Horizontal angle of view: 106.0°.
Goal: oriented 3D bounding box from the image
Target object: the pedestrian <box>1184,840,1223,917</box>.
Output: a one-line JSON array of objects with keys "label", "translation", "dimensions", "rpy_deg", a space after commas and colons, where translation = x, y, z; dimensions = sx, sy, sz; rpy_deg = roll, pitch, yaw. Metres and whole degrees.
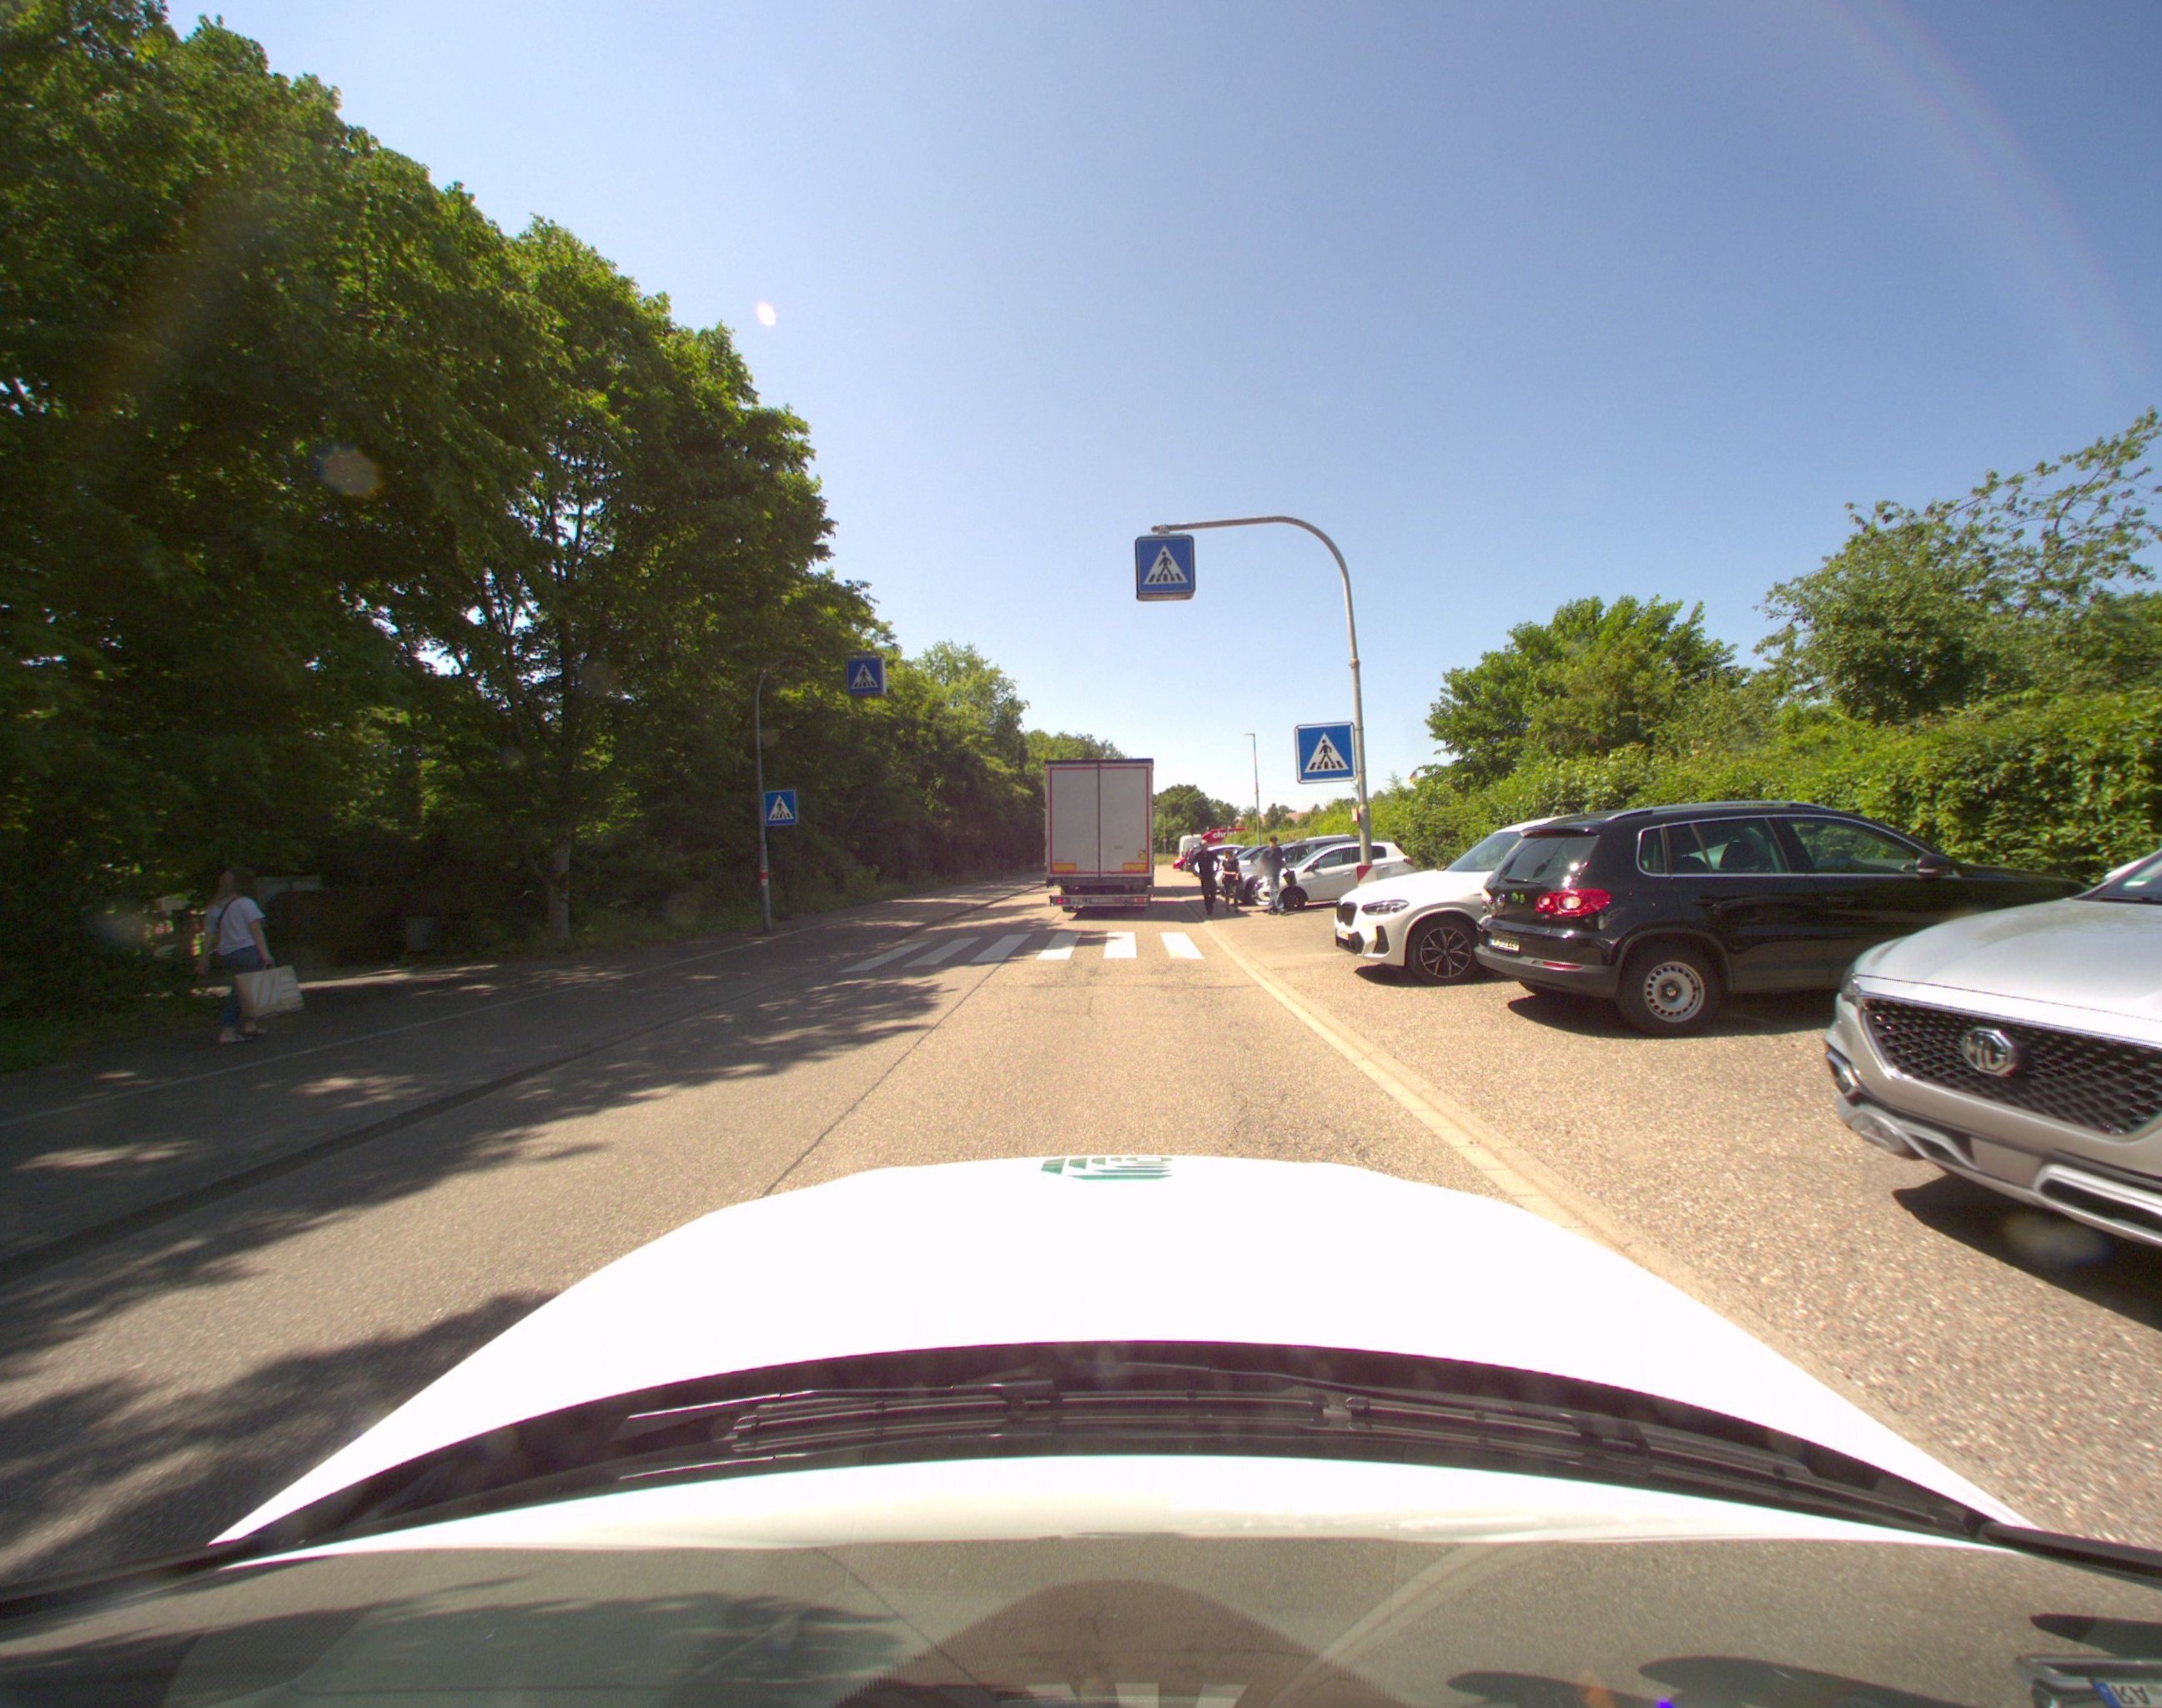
[{"label": "pedestrian", "translation": [3.086, 0.611, 20.571], "dimensions": [0.817, 1.834, 0.794], "rpy_deg": [-5, -1, 6]}]

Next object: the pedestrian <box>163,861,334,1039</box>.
[{"label": "pedestrian", "translation": [-7.991, 0.883, 7.860], "dimensions": [0.826, 1.622, 0.783], "rpy_deg": [0, 0, -1]}]

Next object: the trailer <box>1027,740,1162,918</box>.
[{"label": "trailer", "translation": [0.629, -0.567, 24.690], "dimensions": [3.100, 4.102, 11.546], "rpy_deg": [-1, 0, 3]}]

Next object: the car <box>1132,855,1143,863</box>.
[{"label": "car", "translation": [11.829, 1.106, 170.876], "dimensions": [1.770, 1.486, 4.011], "rpy_deg": [-3, 0, 10]}]

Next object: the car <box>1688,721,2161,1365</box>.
[{"label": "car", "translation": [4.835, 0.334, 2.664], "dimensions": [4.224, 1.653, 1.899], "rpy_deg": [-5, -1, -1]}]

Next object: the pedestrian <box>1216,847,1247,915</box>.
[{"label": "pedestrian", "translation": [3.702, 0.660, 20.110], "dimensions": [0.586, 1.615, 0.746], "rpy_deg": [-5, -1, 6]}]

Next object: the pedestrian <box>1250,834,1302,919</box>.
[{"label": "pedestrian", "translation": [4.379, 0.504, 18.386], "dimensions": [0.903, 1.798, 0.937], "rpy_deg": [-5, -1, 6]}]

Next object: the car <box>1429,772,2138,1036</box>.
[{"label": "car", "translation": [5.351, 0.367, 6.701], "dimensions": [4.110, 1.657, 1.887], "rpy_deg": [-3, -1, 1]}]

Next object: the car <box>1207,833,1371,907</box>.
[{"label": "car", "translation": [5.694, 0.439, 22.619], "dimensions": [3.949, 1.668, 1.810], "rpy_deg": [-4, -1, -4]}]

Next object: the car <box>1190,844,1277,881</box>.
[{"label": "car", "translation": [7.585, 0.435, 40.789], "dimensions": [3.946, 1.619, 1.812], "rpy_deg": [-3, -1, -2]}]

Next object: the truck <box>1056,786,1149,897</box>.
[{"label": "truck", "translation": [0.953, -0.418, 30.887], "dimensions": [3.100, 3.725, 6.420], "rpy_deg": [1, 0, 4]}]

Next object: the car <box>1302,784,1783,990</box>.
[{"label": "car", "translation": [5.077, 0.349, 9.414], "dimensions": [4.392, 1.698, 1.876], "rpy_deg": [-6, -1, -2]}]

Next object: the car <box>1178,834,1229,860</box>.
[{"label": "car", "translation": [10.130, -0.567, 67.650], "dimensions": [3.939, 1.798, 1.815], "rpy_deg": [-5, -3, 4]}]

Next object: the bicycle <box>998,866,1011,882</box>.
[{"label": "bicycle", "translation": [-4.886, 1.271, 52.221], "dimensions": [0.452, 1.047, 2.205], "rpy_deg": [-1, -1, 4]}]

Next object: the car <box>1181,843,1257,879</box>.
[{"label": "car", "translation": [7.927, 0.400, 46.987], "dimensions": [3.946, 1.765, 1.812], "rpy_deg": [-4, -1, -2]}]

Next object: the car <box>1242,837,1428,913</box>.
[{"label": "car", "translation": [6.035, 0.506, 19.726], "dimensions": [3.937, 1.480, 1.816], "rpy_deg": [-4, -1, 5]}]

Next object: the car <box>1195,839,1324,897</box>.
[{"label": "car", "translation": [6.160, 0.447, 28.336], "dimensions": [3.951, 1.668, 1.810], "rpy_deg": [-4, 2, -6]}]

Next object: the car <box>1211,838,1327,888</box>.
[{"label": "car", "translation": [7.261, 0.362, 31.706], "dimensions": [3.951, 1.586, 1.809], "rpy_deg": [-4, -1, -6]}]

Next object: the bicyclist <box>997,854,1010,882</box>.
[{"label": "bicyclist", "translation": [-4.941, 0.871, 51.972], "dimensions": [0.713, 1.758, 0.797], "rpy_deg": [-1, -1, 5]}]

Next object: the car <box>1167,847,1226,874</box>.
[{"label": "car", "translation": [8.486, 0.472, 59.904], "dimensions": [3.946, 1.668, 1.812], "rpy_deg": [-4, -1, -2]}]

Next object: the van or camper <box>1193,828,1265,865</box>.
[{"label": "van or camper", "translation": [15.259, -0.760, 83.750], "dimensions": [6.993, 3.587, 2.784], "rpy_deg": [-1, -1, 15]}]
